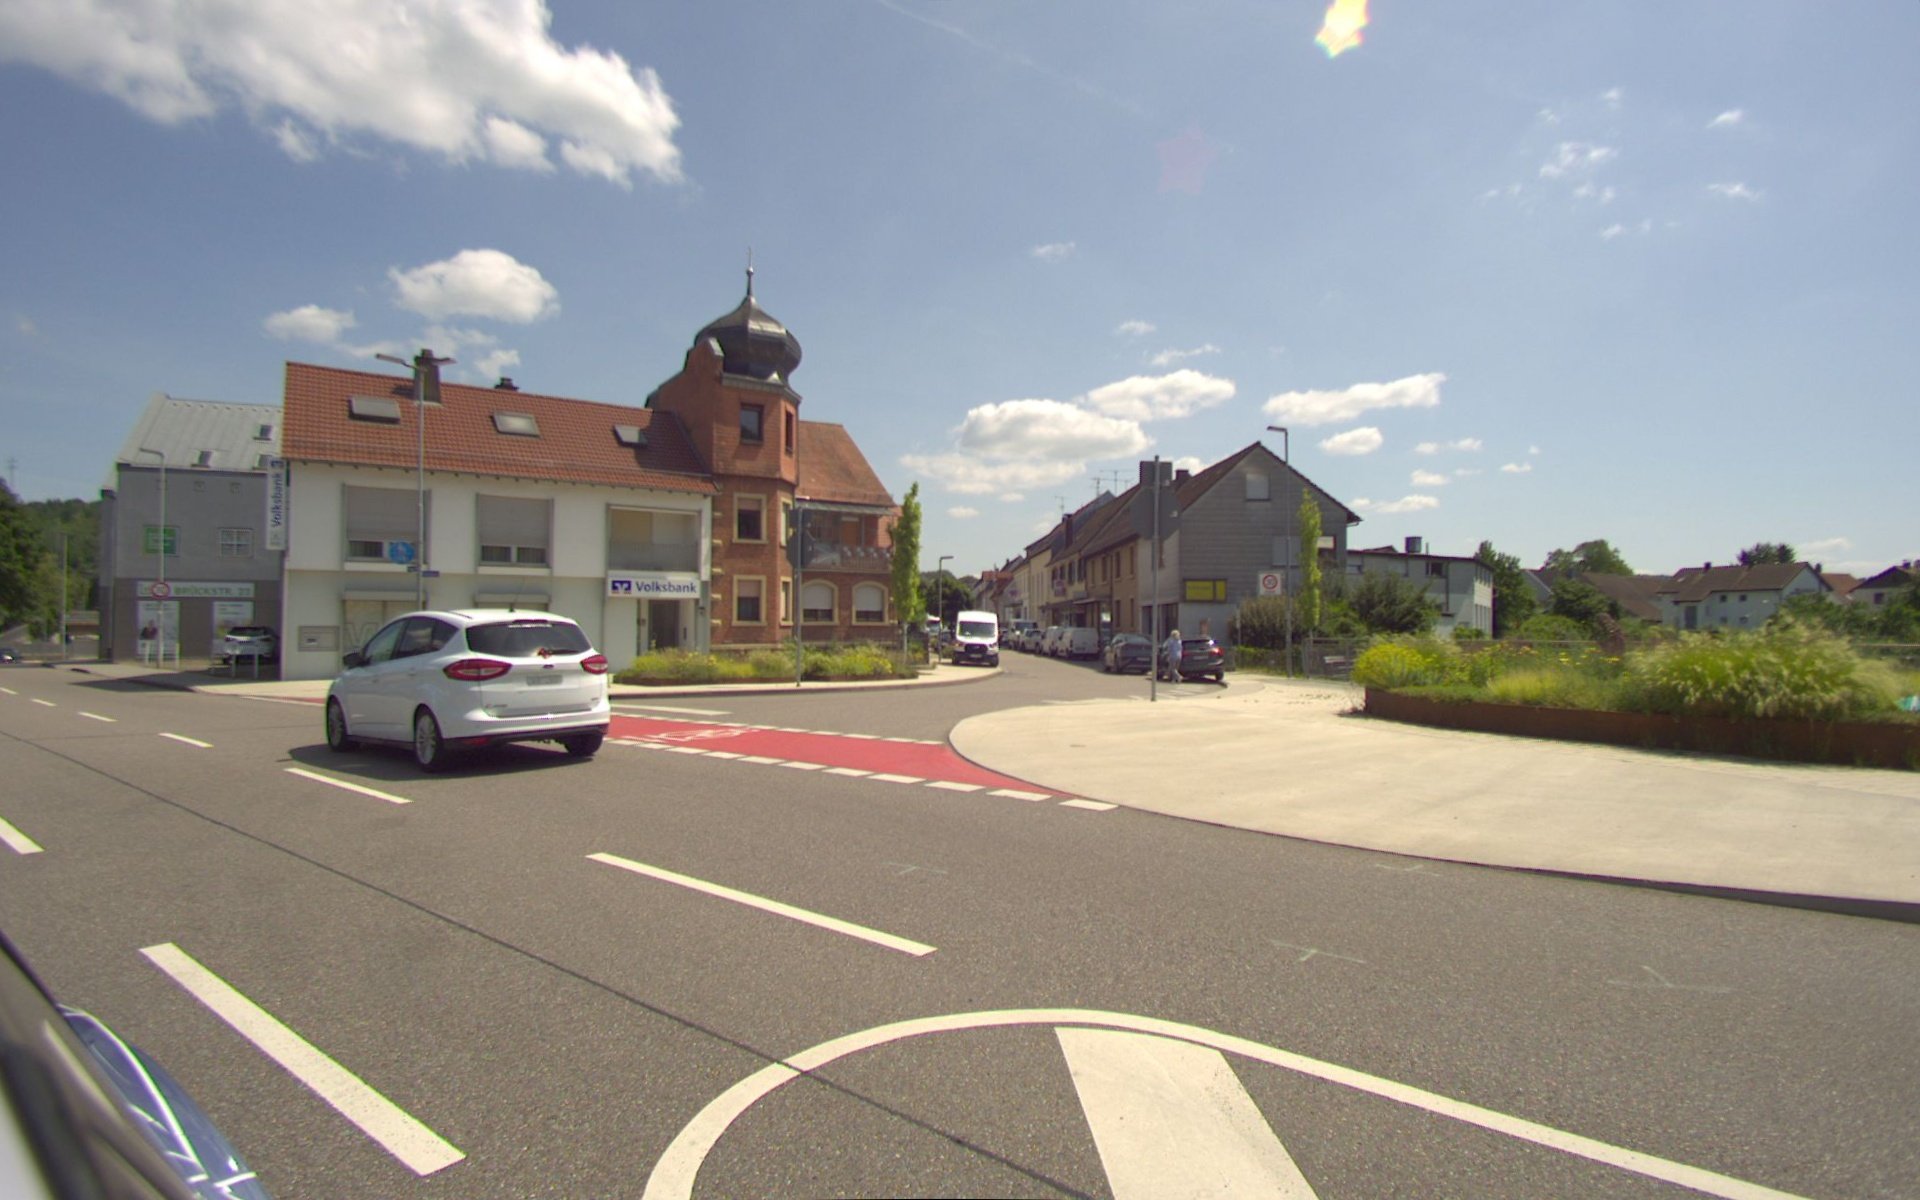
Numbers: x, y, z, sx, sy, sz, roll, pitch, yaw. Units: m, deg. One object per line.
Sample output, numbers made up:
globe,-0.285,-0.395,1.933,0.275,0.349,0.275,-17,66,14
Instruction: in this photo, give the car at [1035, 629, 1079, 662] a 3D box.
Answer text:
car,5.836,2.756,61.379,1.894,1.892,4.004,1,-2,-5

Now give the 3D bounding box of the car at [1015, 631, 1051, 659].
car,5.137,3.159,71.505,1.839,1.864,4.004,1,-2,-5

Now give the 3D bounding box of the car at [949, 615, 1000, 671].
car,0.682,1.923,45.809,2.144,2.363,5.109,1,-2,1

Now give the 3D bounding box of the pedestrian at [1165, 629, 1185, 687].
pedestrian,6.648,1.781,31.361,0.500,1.762,0.614,0,-2,4

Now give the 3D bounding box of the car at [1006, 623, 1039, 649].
car,4.681,2.691,76.406,1.839,1.864,4.004,1,-2,-5

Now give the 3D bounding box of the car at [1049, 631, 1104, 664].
car,6.453,2.608,56.318,2.036,1.741,4.007,1,-2,-8

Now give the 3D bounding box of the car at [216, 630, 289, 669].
car,-30.115,2.111,43.211,1.965,1.587,4.266,2,-3,-28

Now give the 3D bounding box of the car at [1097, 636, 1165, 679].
car,6.726,2.242,40.235,1.762,1.559,4.236,1,-2,-3

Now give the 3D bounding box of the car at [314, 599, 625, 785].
car,-5.494,0.850,11.116,4.001,1.662,1.795,-1,-1,44

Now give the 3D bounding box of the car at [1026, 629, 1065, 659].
car,5.607,2.901,66.727,1.839,1.864,4.004,1,-2,-5

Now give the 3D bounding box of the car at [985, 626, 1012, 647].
car,3.370,3.253,90.140,1.839,1.864,4.004,1,-2,-5

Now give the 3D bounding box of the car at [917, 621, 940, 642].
car,-3.208,3.210,102.531,1.969,2.029,4.006,1,-2,-7

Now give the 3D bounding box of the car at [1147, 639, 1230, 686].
car,7.580,2.047,33.944,1.835,1.475,3.999,0,-2,0
